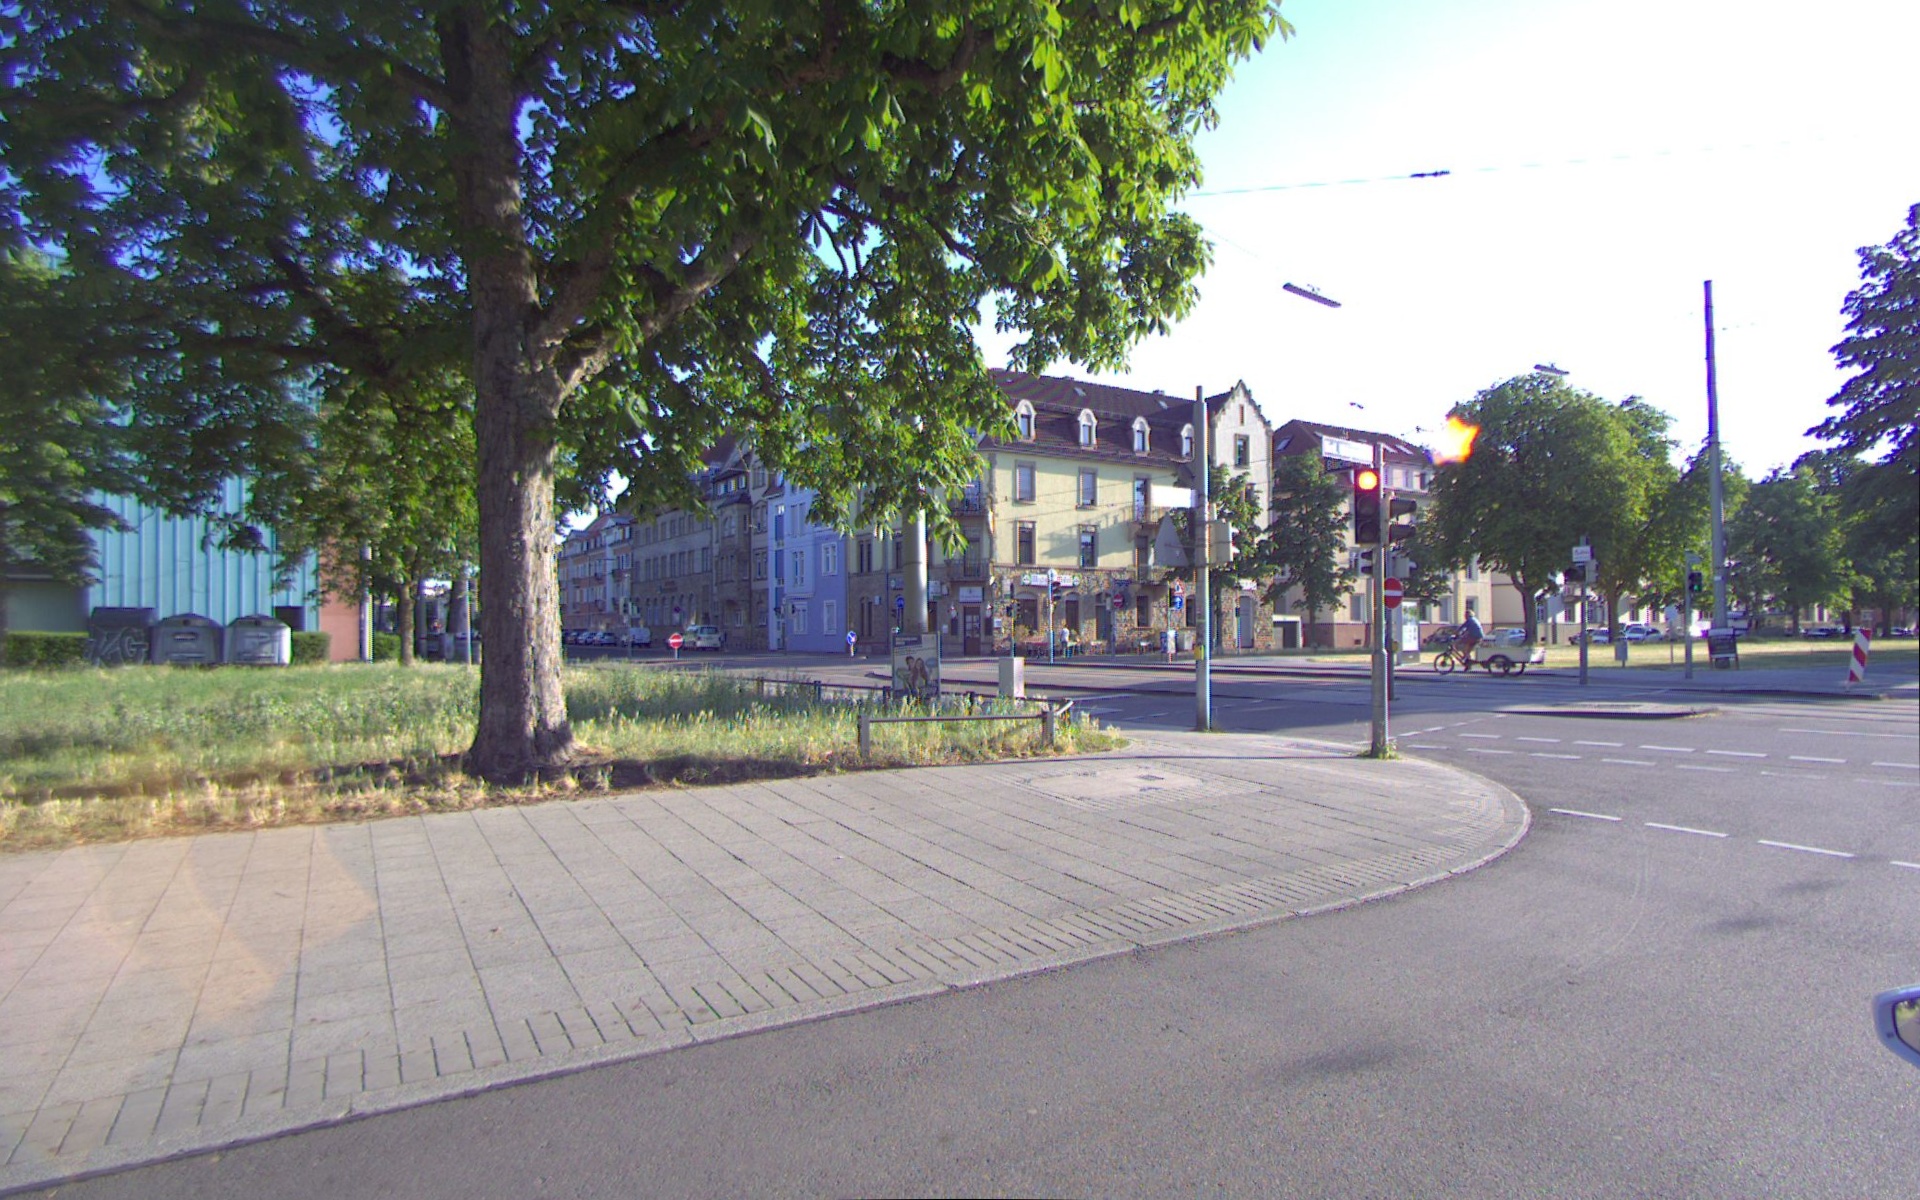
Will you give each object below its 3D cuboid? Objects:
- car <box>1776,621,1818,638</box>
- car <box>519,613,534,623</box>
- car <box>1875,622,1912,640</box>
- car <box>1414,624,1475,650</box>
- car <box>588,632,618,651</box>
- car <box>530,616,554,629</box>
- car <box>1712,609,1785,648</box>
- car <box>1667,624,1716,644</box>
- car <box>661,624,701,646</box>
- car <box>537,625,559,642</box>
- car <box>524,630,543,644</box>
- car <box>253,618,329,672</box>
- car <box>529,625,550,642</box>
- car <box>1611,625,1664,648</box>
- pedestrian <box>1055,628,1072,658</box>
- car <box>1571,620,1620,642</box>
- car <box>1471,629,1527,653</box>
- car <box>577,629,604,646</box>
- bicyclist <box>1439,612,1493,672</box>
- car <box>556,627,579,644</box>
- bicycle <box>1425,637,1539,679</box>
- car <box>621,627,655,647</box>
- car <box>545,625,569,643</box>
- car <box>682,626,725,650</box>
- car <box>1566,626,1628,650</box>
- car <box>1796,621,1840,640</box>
[{"bbox_3d":[86.974,3.070,104.347,4.323,1.681,1.984,2,0,-30],"label":"car"},{"bbox_3d":[-69.171,2.901,160.315,1.534,1.387,3.428,2,0,-34],"label":"car"},{"bbox_3d":[97.844,3.285,105.256,4.075,1.804,1.802,2,0,-31],"label":"car"},{"bbox_3d":[35.461,2.698,73.479,4.261,1.759,1.984,2,0,-30],"label":"car"},{"bbox_3d":[-36.775,4.260,103.421,1.980,1.694,3.743,2,0,-34],"label":"car"},{"bbox_3d":[-58.086,3.168,139.447,1.912,1.715,3.952,2,-1,-41],"label":"car"},{"bbox_3d":[67.923,2.454,86.499,7.764,3.173,2.379,1,1,-32],"label":"car"},{"bbox_3d":[66.778,3.097,91.717,4.517,1.681,1.984,2,0,-30],"label":"car"},{"bbox_3d":[-23.132,2.873,83.235,1.980,1.763,3.962,1,0,-34],"label":"car"},{"bbox_3d":[-51.974,4.196,126.664,1.789,2.040,3.772,2,0,-33],"label":"car"},{"bbox_3d":[-57.346,4.990,134.989,1.713,1.694,3.638,2,0,-33],"label":"car"},{"bbox_3d":[-22.859,1.599,34.384,1.979,1.693,5.177,2,-4,-34],"label":"car"},{"bbox_3d":[-54.782,4.381,130.896,1.756,2.040,3.790,2,0,-34],"label":"car"},{"bbox_3d":[51.348,2.740,76.126,4.372,1.575,1.785,0,1,-34],"label":"car"},{"bbox_3d":[5.805,2.426,56.263,0.676,1.646,0.612,2,0,-34],"label":"pedestrian"},{"bbox_3d":[52.842,2.591,83.523,4.142,1.654,1.707,2,0,-30],"label":"car"},{"bbox_3d":[41.021,3.127,76.459,3.953,1.681,1.984,2,0,-30],"label":"car"},{"bbox_3d":[-39.730,4.029,107.911,1.816,1.692,3.911,2,0,-34],"label":"car"},{"bbox_3d":[15.039,1.255,29.890,0.864,1.746,1.141,1,-3,-27],"label":"bicyclist"},{"bbox_3d":[-46.009,4.143,117.734,1.782,1.855,3.755,2,0,-34],"label":"car"},{"bbox_3d":[15.244,1.678,29.474,0.863,1.176,3.063,1,-3,-26],"label":"bicycle"},{"bbox_3d":[-30.153,3.461,94.045,1.980,1.694,3.743,2,0,-34],"label":"car"},{"bbox_3d":[-48.994,4.113,122.095,1.805,2.040,3.924,2,0,-34],"label":"car"},{"bbox_3d":[-20.005,2.945,78.278,2.011,1.760,3.743,2,0,-34],"label":"car"},{"bbox_3d":[46.452,2.777,73.209,4.517,1.681,1.984,2,0,-30],"label":"car"},{"bbox_3d":[80.904,2.901,94.701,4.266,1.696,1.869,2,0,-31],"label":"car"}]
